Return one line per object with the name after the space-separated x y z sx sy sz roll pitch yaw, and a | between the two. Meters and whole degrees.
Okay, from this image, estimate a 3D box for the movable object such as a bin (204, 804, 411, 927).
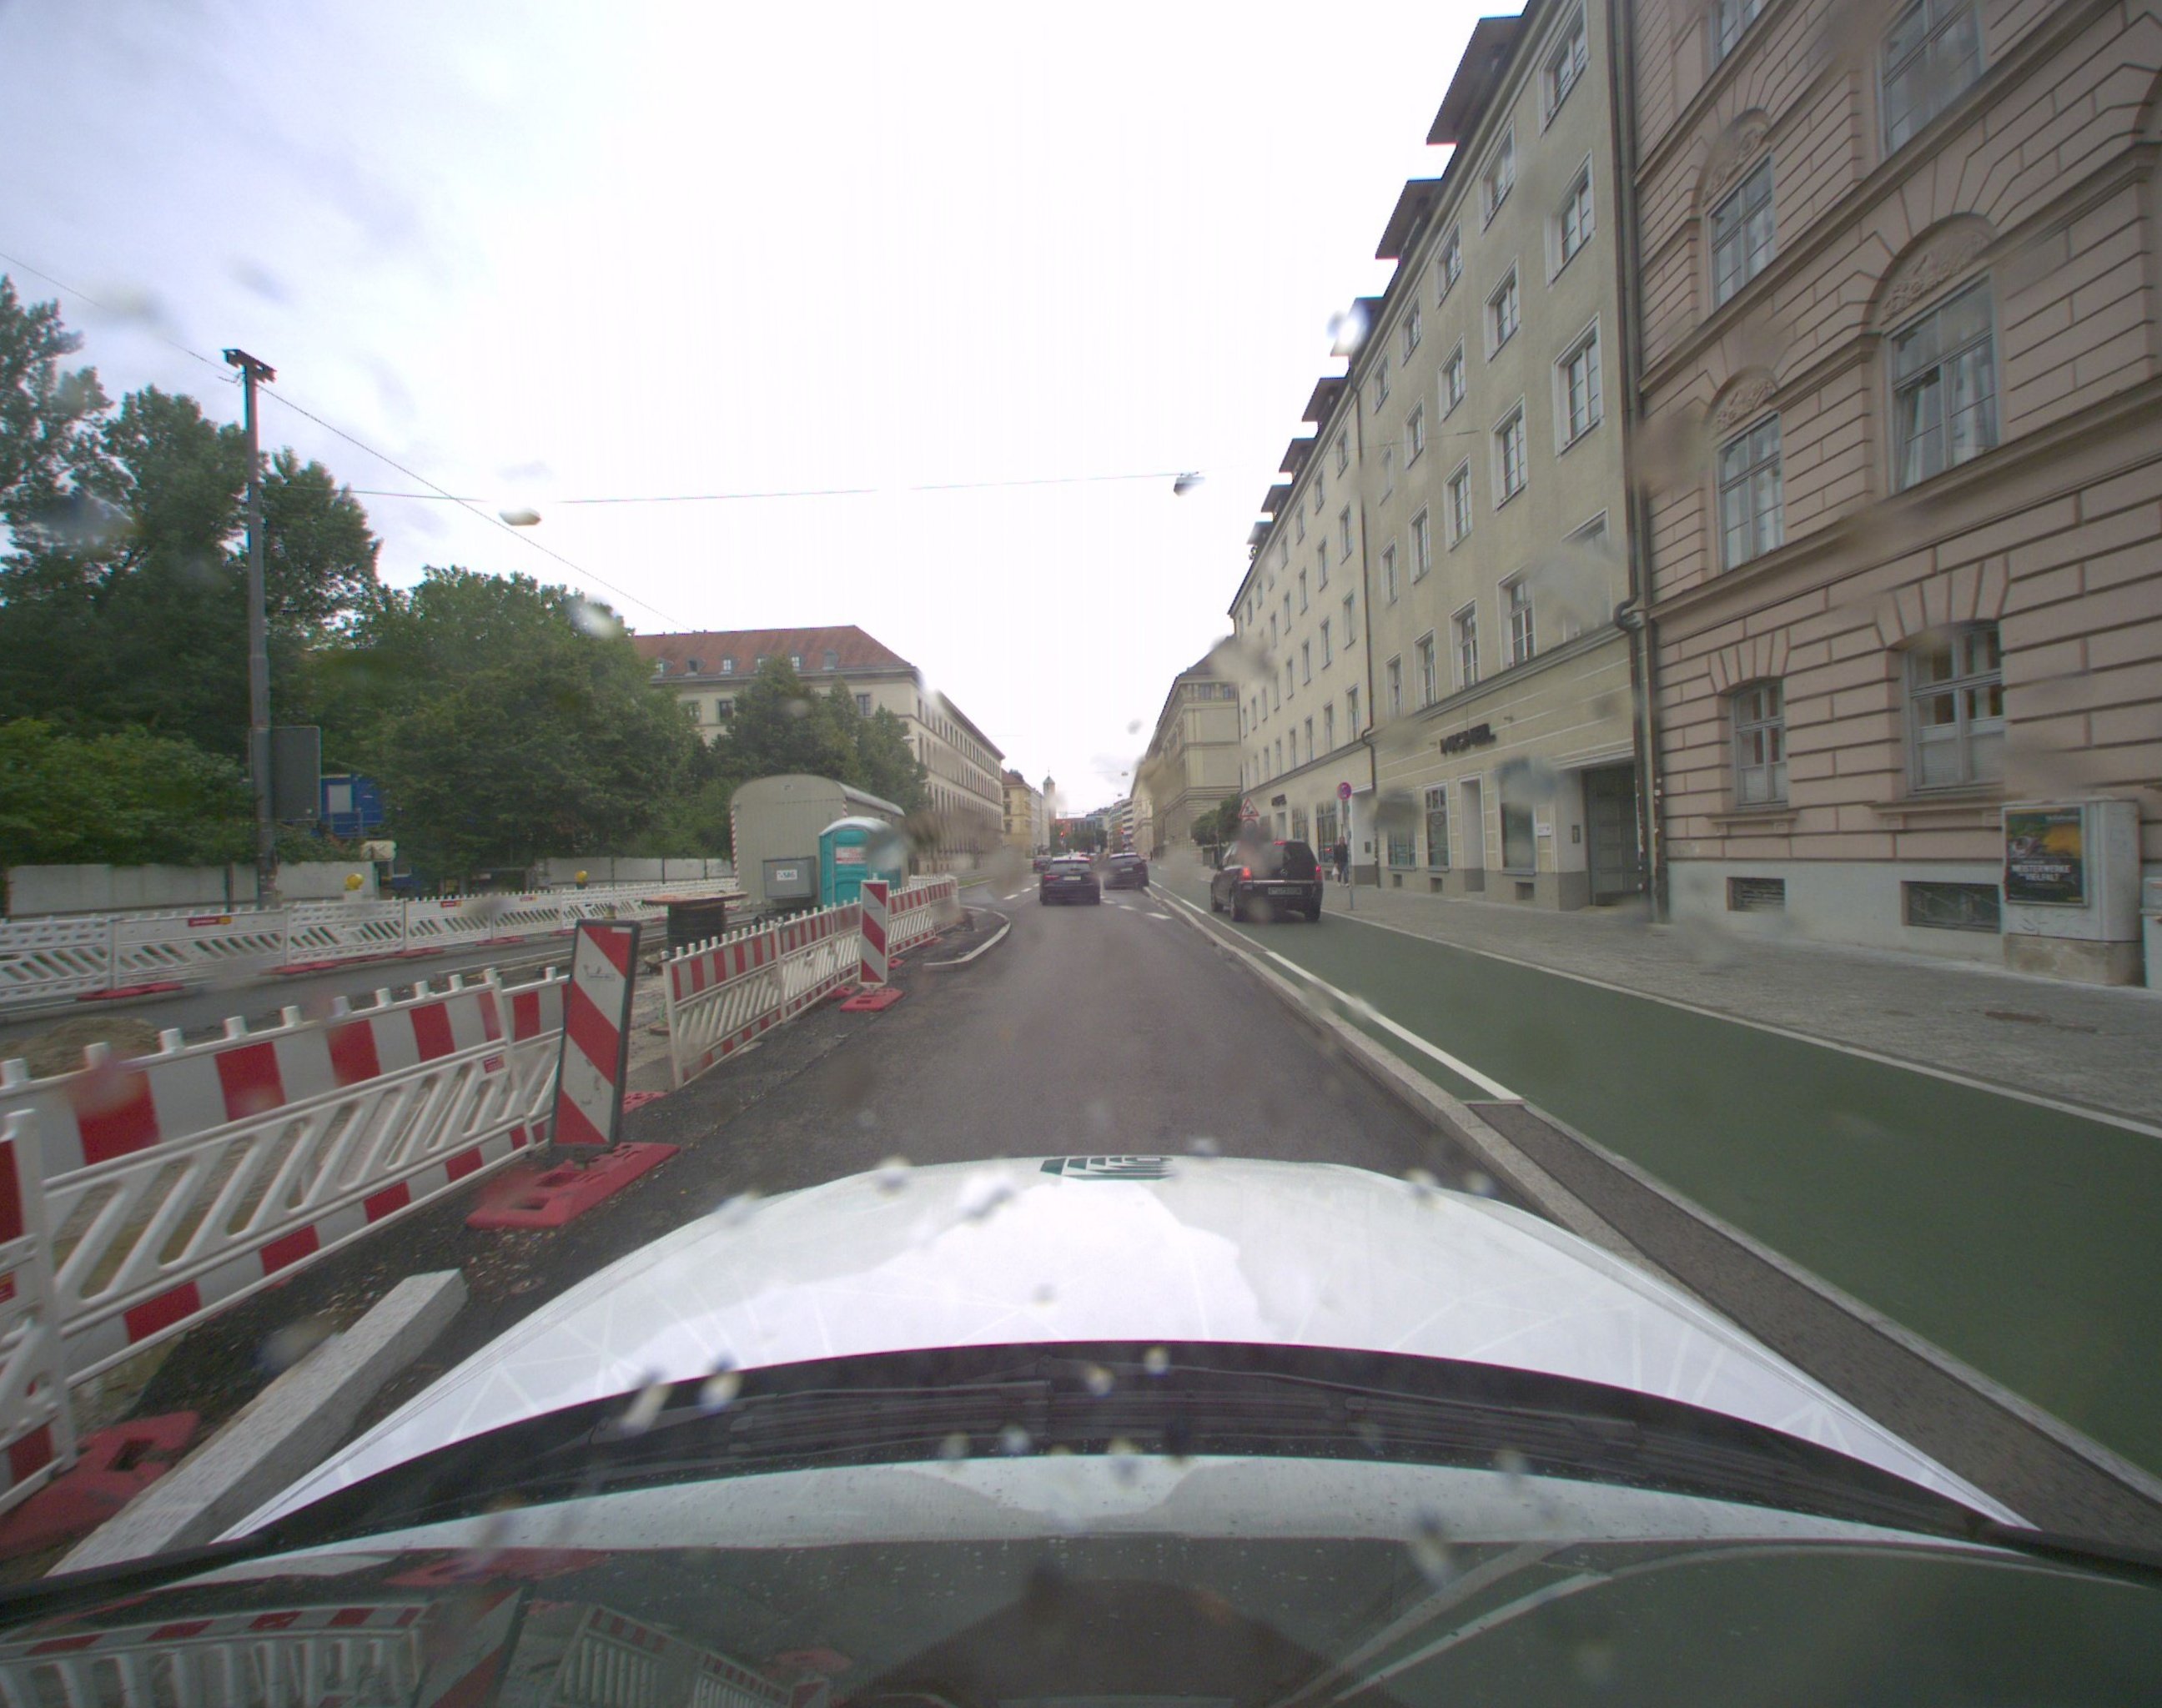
-27.630 0.371 29.420 2.457 3.962 5.066 -2 0 1 | movable object such as a bin

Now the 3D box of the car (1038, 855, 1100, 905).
-0.432 0.735 25.134 1.726 1.403 3.995 -1 0 -3 | car

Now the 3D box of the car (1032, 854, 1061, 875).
-2.842 0.812 67.730 1.986 1.627 4.002 -2 0 2 | car

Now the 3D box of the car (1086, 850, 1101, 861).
1.827 0.230 118.716 1.986 1.444 4.002 -2 0 2 | car

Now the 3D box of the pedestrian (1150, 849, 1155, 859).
11.758 -0.054 134.426 0.707 1.618 0.754 -2 0 1 | pedestrian

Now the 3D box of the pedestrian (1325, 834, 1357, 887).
8.909 0.215 27.905 0.790 1.745 0.834 -2 0 2 | pedestrian

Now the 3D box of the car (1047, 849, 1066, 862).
-2.971 0.206 98.474 1.986 1.444 4.002 -2 0 2 | car

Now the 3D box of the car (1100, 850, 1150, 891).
1.849 0.655 35.342 1.803 1.480 4.462 -6 0 0 | car

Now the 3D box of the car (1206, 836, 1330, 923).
3.826 0.477 17.320 1.758 1.616 4.031 -1 0 1 | car

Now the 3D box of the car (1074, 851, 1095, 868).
0.316 0.482 71.340 1.723 1.461 4.002 -1 0 2 | car
